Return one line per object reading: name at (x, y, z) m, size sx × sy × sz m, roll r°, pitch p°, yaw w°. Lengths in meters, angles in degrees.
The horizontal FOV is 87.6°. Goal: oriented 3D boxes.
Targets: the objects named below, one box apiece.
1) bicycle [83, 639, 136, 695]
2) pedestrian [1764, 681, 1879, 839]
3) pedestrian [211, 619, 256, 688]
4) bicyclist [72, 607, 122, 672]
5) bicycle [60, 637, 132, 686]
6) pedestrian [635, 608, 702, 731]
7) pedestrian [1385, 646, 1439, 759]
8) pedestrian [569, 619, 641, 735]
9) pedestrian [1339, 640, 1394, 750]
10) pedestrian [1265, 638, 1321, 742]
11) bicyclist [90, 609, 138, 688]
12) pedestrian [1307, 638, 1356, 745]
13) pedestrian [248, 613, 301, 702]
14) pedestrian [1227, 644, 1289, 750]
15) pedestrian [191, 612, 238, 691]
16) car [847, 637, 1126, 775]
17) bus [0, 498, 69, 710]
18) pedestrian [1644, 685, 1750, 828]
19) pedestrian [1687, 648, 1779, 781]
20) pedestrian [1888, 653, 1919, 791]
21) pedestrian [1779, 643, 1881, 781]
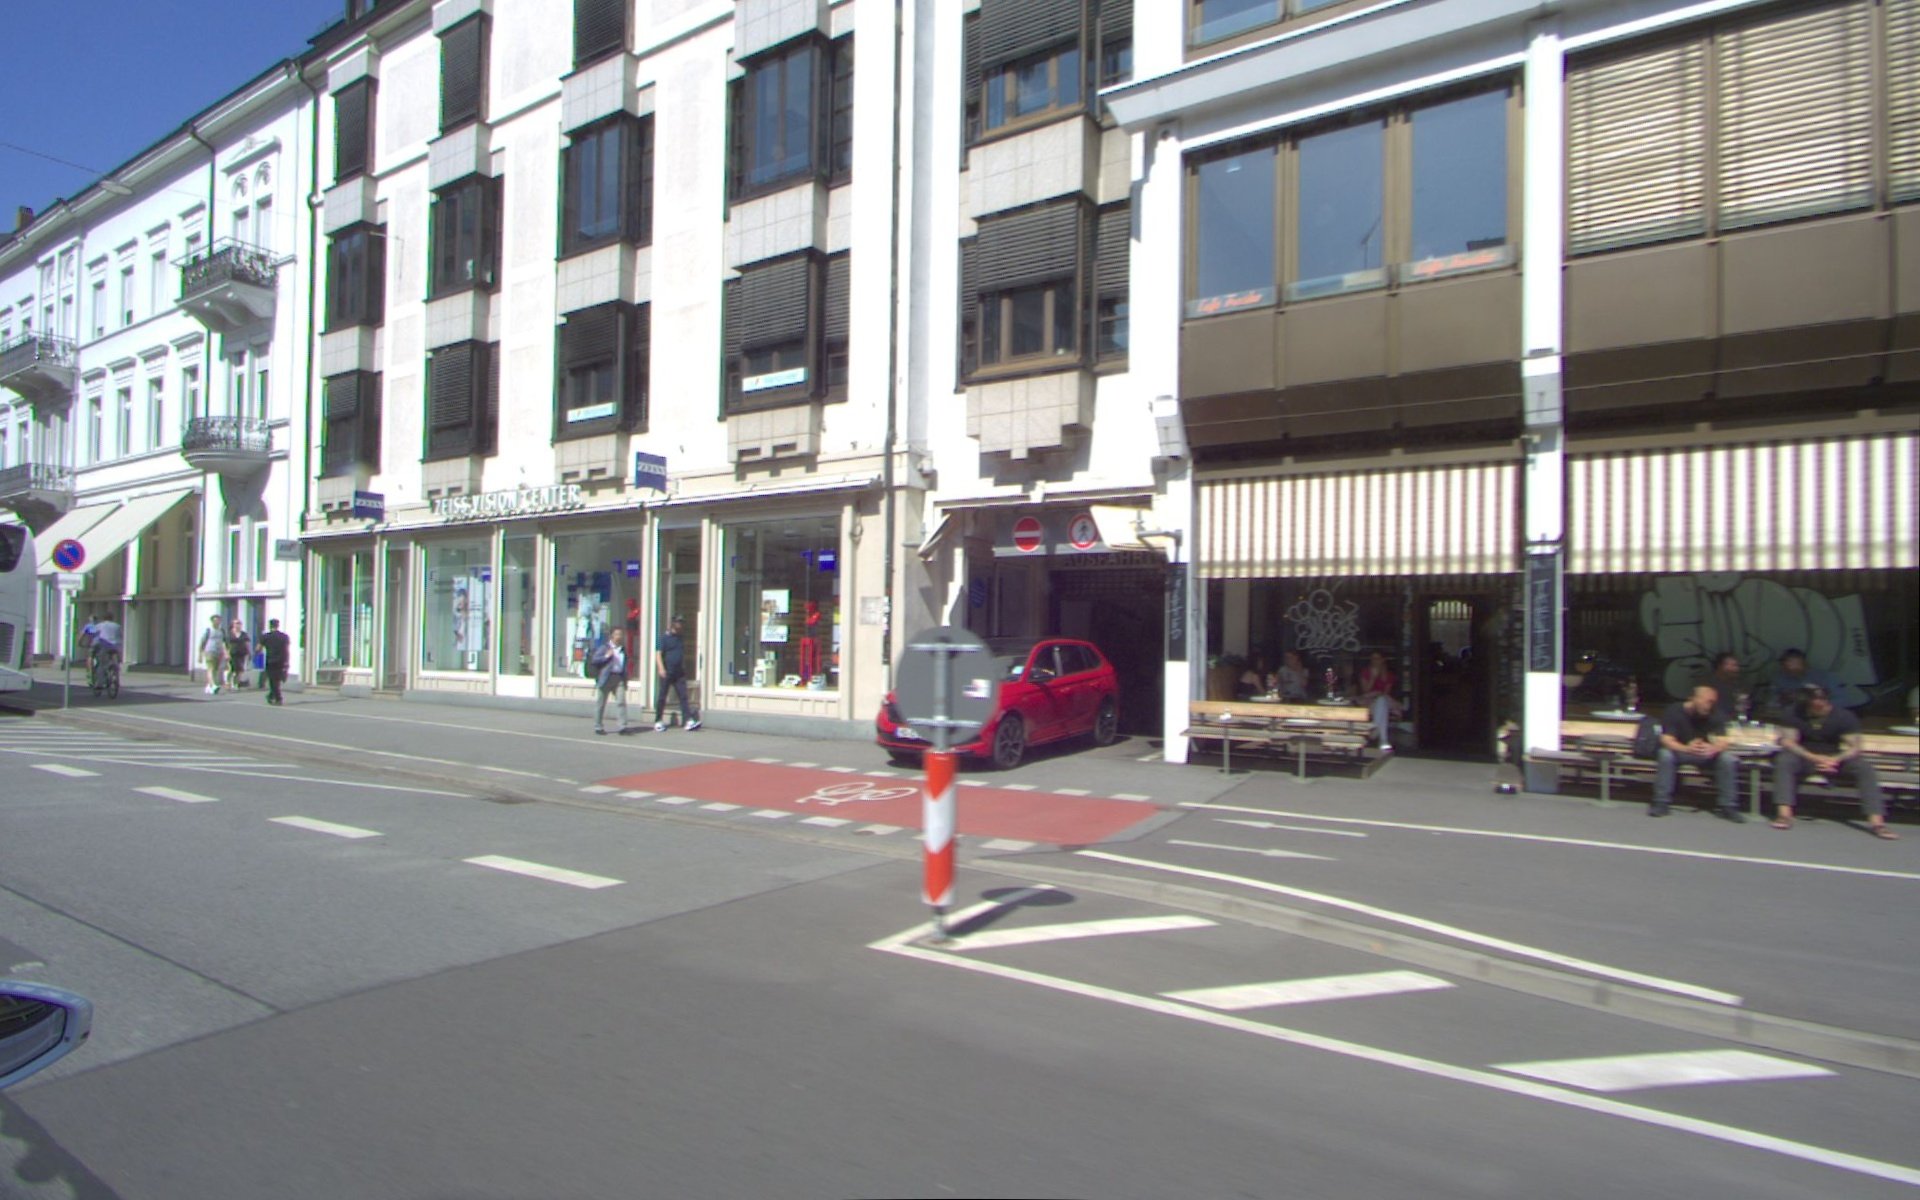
bicycle at (-18.490, 1.443, 21.745) m, size 1.780 × 1.134 × 0.592 m, roll 0°, pitch -2°, yaw 41°
pedestrian at (7.347, 1.326, 8.553) m, size 0.689 × 1.232 × 0.708 m, roll -2°, pitch -3°, yaw 41°
pedestrian at (-17.632, 1.308, 24.293) m, size 0.811 × 1.637 × 0.643 m, roll -2°, pitch -3°, yaw 36°
bicyclist at (-20.956, 0.959, 24.317) m, size 0.856 × 1.548 × 0.619 m, roll 0°, pitch -3°, yaw 31°
bicycle at (-20.983, 1.477, 24.314) m, size 2.318 × 1.112 × 0.619 m, roll -1°, pitch -3°, yaw 32°
pedestrian at (-4.618, 1.090, 15.877) m, size 0.826 × 1.873 × 0.691 m, roll -2°, pitch -3°, yaw 42°
pedestrian at (5.846, 1.299, 12.935) m, size 0.529 × 1.385 × 0.834 m, roll 0°, pitch -2°, yaw 32°
pedestrian at (-5.400, 1.152, 15.238) m, size 0.826 × 1.707 × 0.691 m, roll -1°, pitch -2°, yaw 42°
pedestrian at (5.367, 1.234, 13.201) m, size 0.529 × 1.385 × 0.876 m, roll 0°, pitch -2°, yaw 32°
pedestrian at (4.607, 1.230, 13.854) m, size 0.576 × 1.385 × 0.743 m, roll 0°, pitch -2°, yaw 32°
bicyclist at (-18.224, 1.042, 21.570) m, size 0.827 × 1.646 × 0.690 m, roll -1°, pitch -2°, yaw 44°
pedestrian at (5.008, 1.210, 13.492) m, size 0.471 × 1.385 × 0.760 m, roll 0°, pitch -2°, yaw 32°
pedestrian at (-13.807, 1.160, 20.176) m, size 0.825 × 1.740 × 0.618 m, roll -3°, pitch -4°, yaw 35°
pedestrian at (4.047, 1.294, 13.597) m, size 0.679 × 1.385 × 0.534 m, roll 0°, pitch -2°, yaw 33°
pedestrian at (-17.337, 1.202, 23.288) m, size 1.007 × 1.800 × 0.572 m, roll -2°, pitch -3°, yaw 36°
car at (0.511, 1.268, 13.268) m, size 1.817 × 1.513 × 4.036 m, roll 0°, pitch -2°, yaw 34°
bus at (-22.729, 0.053, 20.765) m, size 12.247 × 3.787 × 2.879 m, roll 0°, pitch -4°, yaw 32°
pedestrian at (6.657, 1.377, 9.040) m, size 0.689 × 1.187 × 0.708 m, roll -2°, pitch -3°, yaw 41°
pedestrian at (8.583, 1.240, 11.146) m, size 0.686 × 1.414 × 0.812 m, roll -1°, pitch -3°, yaw 31°
pedestrian at (10.253, 1.224, 10.119) m, size 1.090 × 1.367 × 0.894 m, roll -2°, pitch -3°, yaw 32°
pedestrian at (9.314, 1.173, 10.750) m, size 0.687 × 1.414 × 0.710 m, roll -2°, pitch -3°, yaw 32°
